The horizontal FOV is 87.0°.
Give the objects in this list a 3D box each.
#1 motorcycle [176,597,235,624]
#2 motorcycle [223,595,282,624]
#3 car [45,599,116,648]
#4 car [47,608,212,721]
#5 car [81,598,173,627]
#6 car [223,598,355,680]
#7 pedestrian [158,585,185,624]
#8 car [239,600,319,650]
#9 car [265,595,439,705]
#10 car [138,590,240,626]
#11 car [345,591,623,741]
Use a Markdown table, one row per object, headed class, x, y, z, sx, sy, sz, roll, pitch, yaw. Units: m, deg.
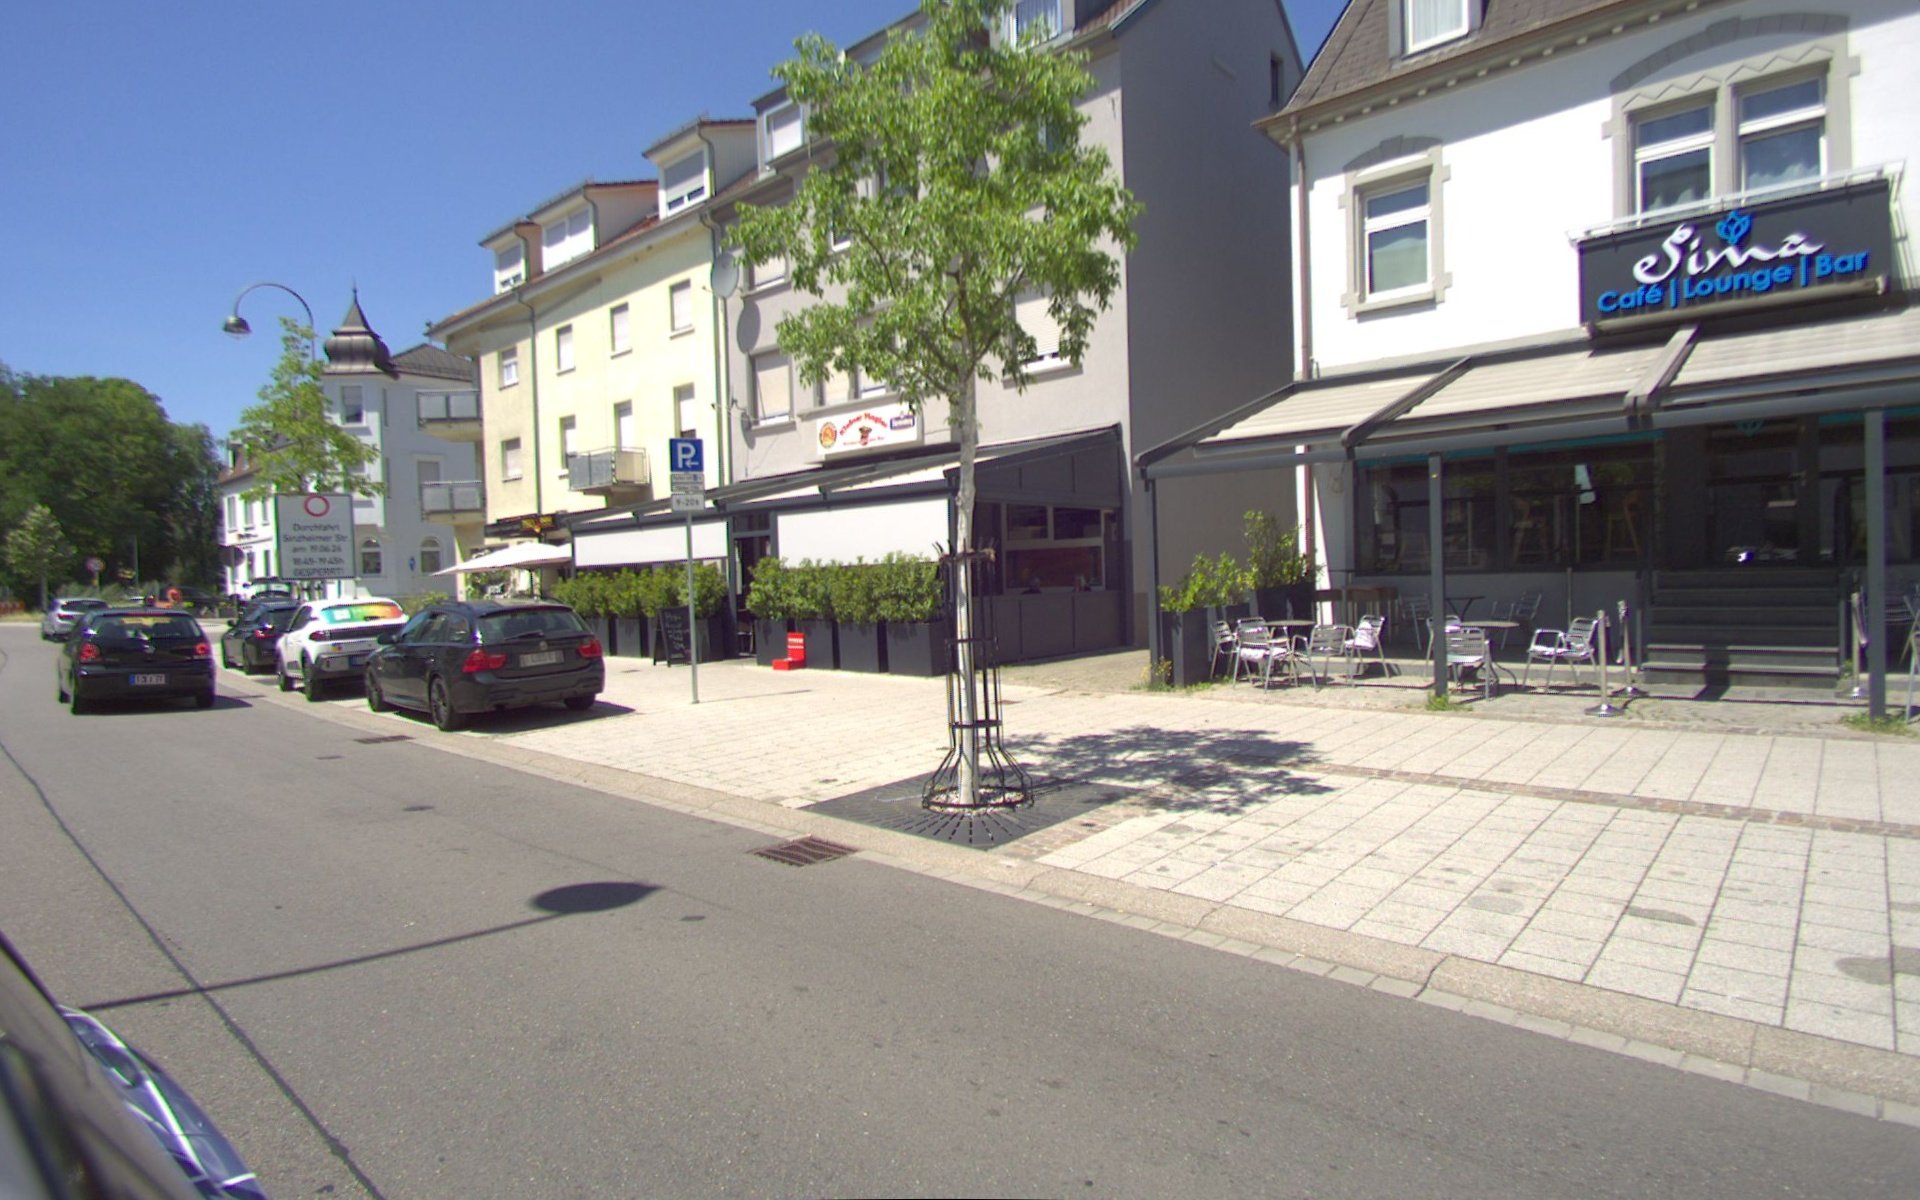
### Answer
| class | x | y | z | sx | sy | sz | roll | pitch | yaw |
| --- | --- | --- | --- | --- | --- | --- | --- | --- | --- |
| motorcycle | -38.026 | 0.516 | 51.026 | 0.726 | 1.335 | 2.291 | -1 | 0 | 45 |
| motorcycle | -34.868 | 0.453 | 49.915 | 0.726 | 1.335 | 2.291 | -1 | 0 | 45 |
| car | -30.608 | 0.777 | 35.183 | 1.661 | 1.495 | 4.090 | -2 | 2 | -43 |
| car | -12.461 | 0.858 | 15.100 | 1.597 | 1.465 | 3.867 | 0 | -1 | -44 |
| car | -47.964 | 0.687 | 58.393 | 1.814 | 1.548 | 3.930 | -1 | 0 | 8 |
| car | -14.584 | 0.776 | 21.889 | 1.661 | 1.495 | 4.345 | -5 | 3 | -42 |
| pedestrian | -36.932 | 0.220 | 47.426 | 0.800 | 1.779 | 0.750 | -1 | 0 | 32 |
| car | -21.149 | 0.750 | 31.380 | 1.872 | 1.452 | 3.784 | 0 | -1 | -37 |
| car | -9.978 | 0.730 | 16.496 | 1.661 | 1.495 | 3.773 | -5 | 3 | -42 |
| car | -39.823 | 0.404 | 52.308 | 4.021 | 1.752 | 1.816 | -2 | 0 | -43 |
| car | -6.121 | 0.694 | 12.731 | 1.734 | 1.456 | 4.452 | -6 | 4 | -44 |
